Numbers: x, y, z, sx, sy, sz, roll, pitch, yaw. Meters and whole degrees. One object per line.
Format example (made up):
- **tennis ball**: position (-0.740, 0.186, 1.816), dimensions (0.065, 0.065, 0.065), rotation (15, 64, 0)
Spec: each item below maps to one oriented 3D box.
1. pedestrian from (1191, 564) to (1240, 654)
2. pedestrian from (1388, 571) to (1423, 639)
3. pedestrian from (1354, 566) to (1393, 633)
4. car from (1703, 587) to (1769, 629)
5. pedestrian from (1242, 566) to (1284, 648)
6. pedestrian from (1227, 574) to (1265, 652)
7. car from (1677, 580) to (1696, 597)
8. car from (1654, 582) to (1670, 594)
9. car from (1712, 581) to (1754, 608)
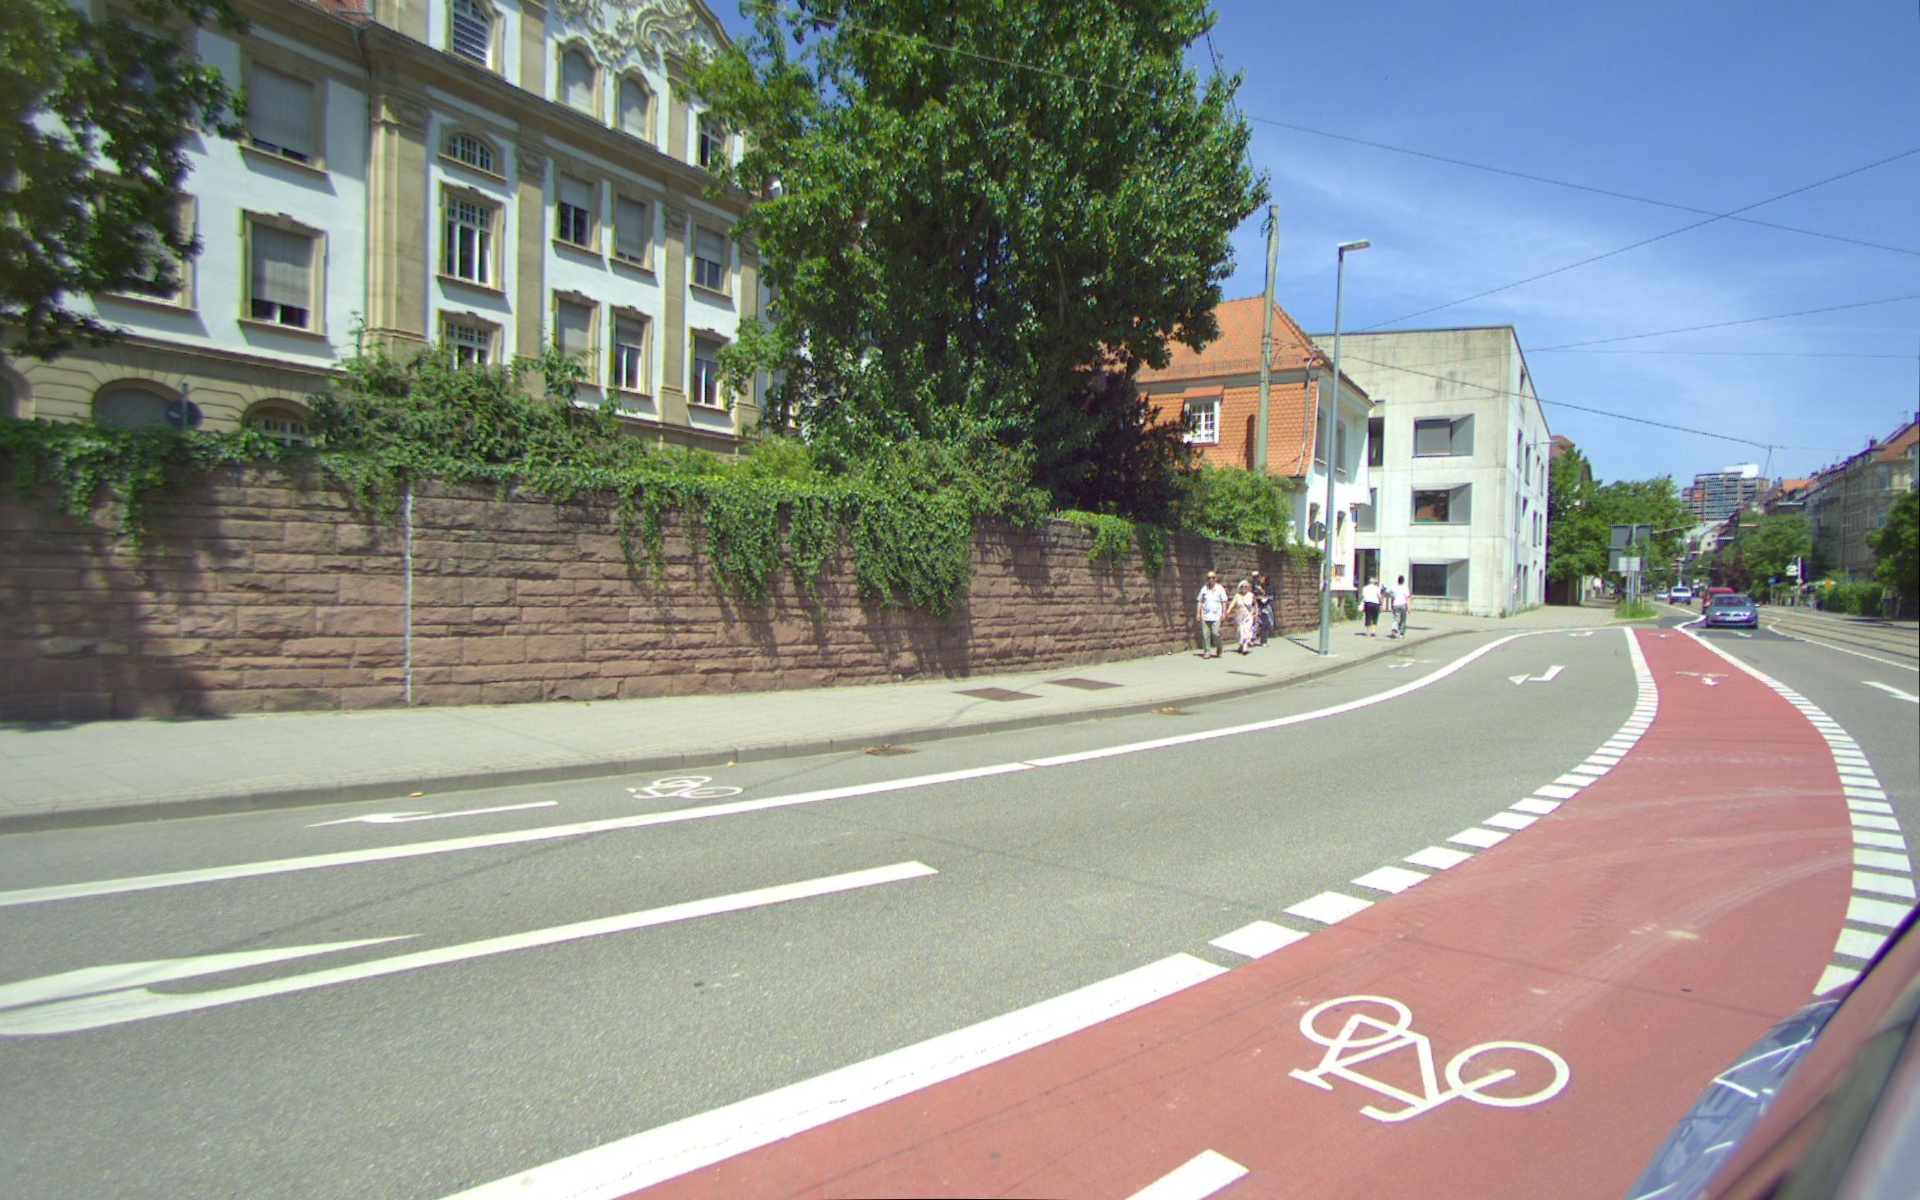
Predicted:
- **pedestrian**: position (4.890, 0.160, 19.383), dimensions (0.660, 1.667, 0.615), rotation (3, 2, 39)
- **pedestrian**: position (12.442, 0.133, 28.250), dimensions (0.676, 1.830, 0.738), rotation (3, 2, 38)
- **pedestrian**: position (11.764, -0.026, 28.786), dimensions (0.812, 1.830, 0.690), rotation (3, 2, 38)
- **car**: position (32.990, 0.315, 43.110), dimensions (1.881, 1.589, 3.990), rotation (2, 2, 33)
- **pedestrian**: position (6.784, 0.148, 22.682), dimensions (0.714, 1.795, 0.621), rotation (2, 0, 35)
- **pedestrian**: position (5.875, 0.254, 20.767), dimensions (0.515, 1.552, 0.589), rotation (3, 2, 39)
- **car**: position (81.137, -1.314, 113.038), dimensions (1.610, 1.730, 3.388), rotation (2, 2, 35)
- **car**: position (107.180, -1.846, 154.475), dimensions (1.872, 1.705, 3.326), rotation (2, 2, 35)
- **car**: position (51.307, -0.410, 67.206), dimensions (1.863, 1.668, 3.735), rotation (2, 2, 33)
